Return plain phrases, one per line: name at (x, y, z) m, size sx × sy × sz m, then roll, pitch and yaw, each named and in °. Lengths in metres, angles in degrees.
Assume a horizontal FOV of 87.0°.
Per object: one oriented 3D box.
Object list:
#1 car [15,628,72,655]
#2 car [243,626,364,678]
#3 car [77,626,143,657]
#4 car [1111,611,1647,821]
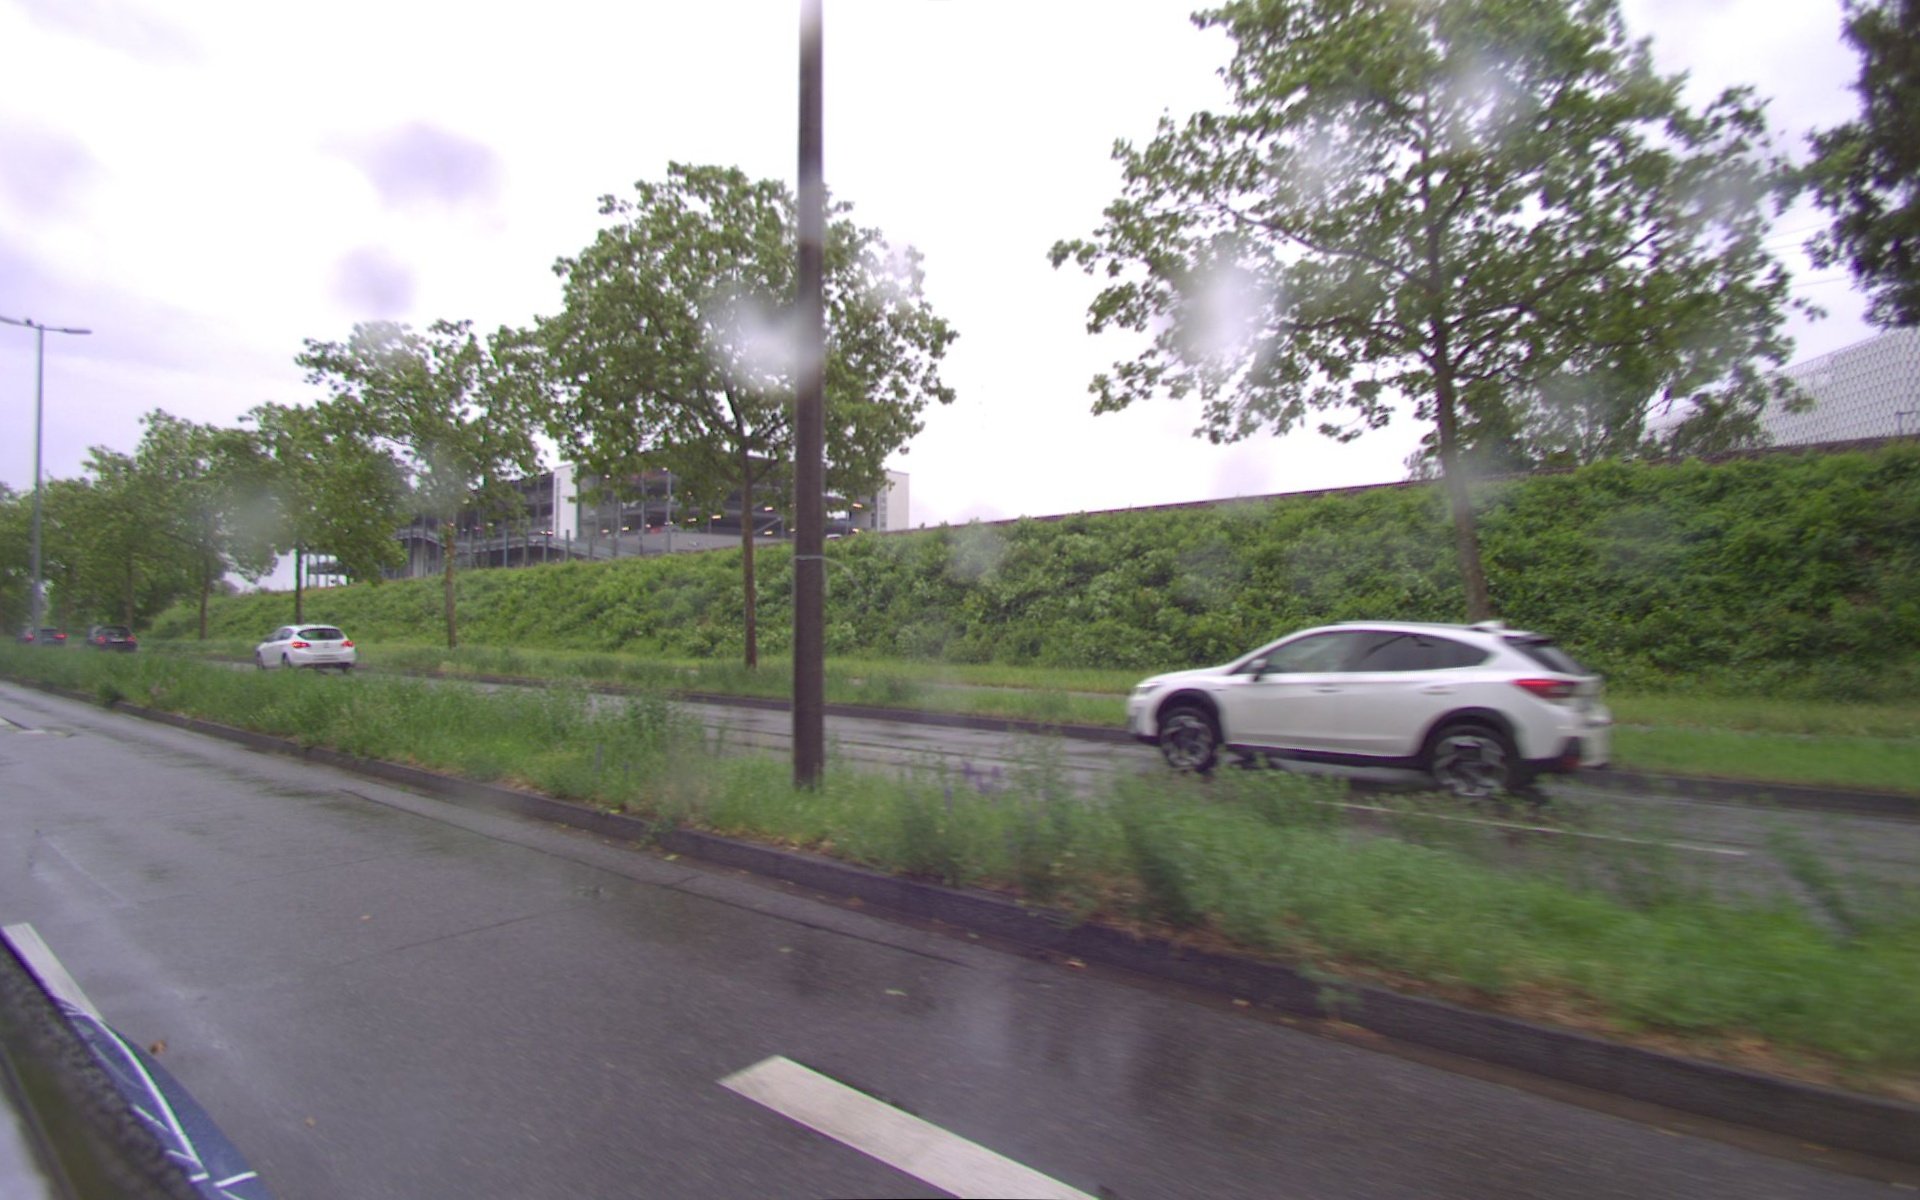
car at (-53.891, 2.414, 59.487) m, size 4.494 × 1.456 × 1.911 m, roll -1°, pitch -2°, yaw 41°
car at (-20.276, 1.548, 31.166) m, size 4.654 × 1.456 × 1.911 m, roll -1°, pitch -2°, yaw 41°
car at (-41.244, 1.981, 49.088) m, size 3.705 × 1.456 × 1.911 m, roll -1°, pitch -2°, yaw 41°
car at (3.883, 0.944, 9.909) m, size 4.516 × 1.601 × 1.837 m, roll -1°, pitch -2°, yaw 41°
